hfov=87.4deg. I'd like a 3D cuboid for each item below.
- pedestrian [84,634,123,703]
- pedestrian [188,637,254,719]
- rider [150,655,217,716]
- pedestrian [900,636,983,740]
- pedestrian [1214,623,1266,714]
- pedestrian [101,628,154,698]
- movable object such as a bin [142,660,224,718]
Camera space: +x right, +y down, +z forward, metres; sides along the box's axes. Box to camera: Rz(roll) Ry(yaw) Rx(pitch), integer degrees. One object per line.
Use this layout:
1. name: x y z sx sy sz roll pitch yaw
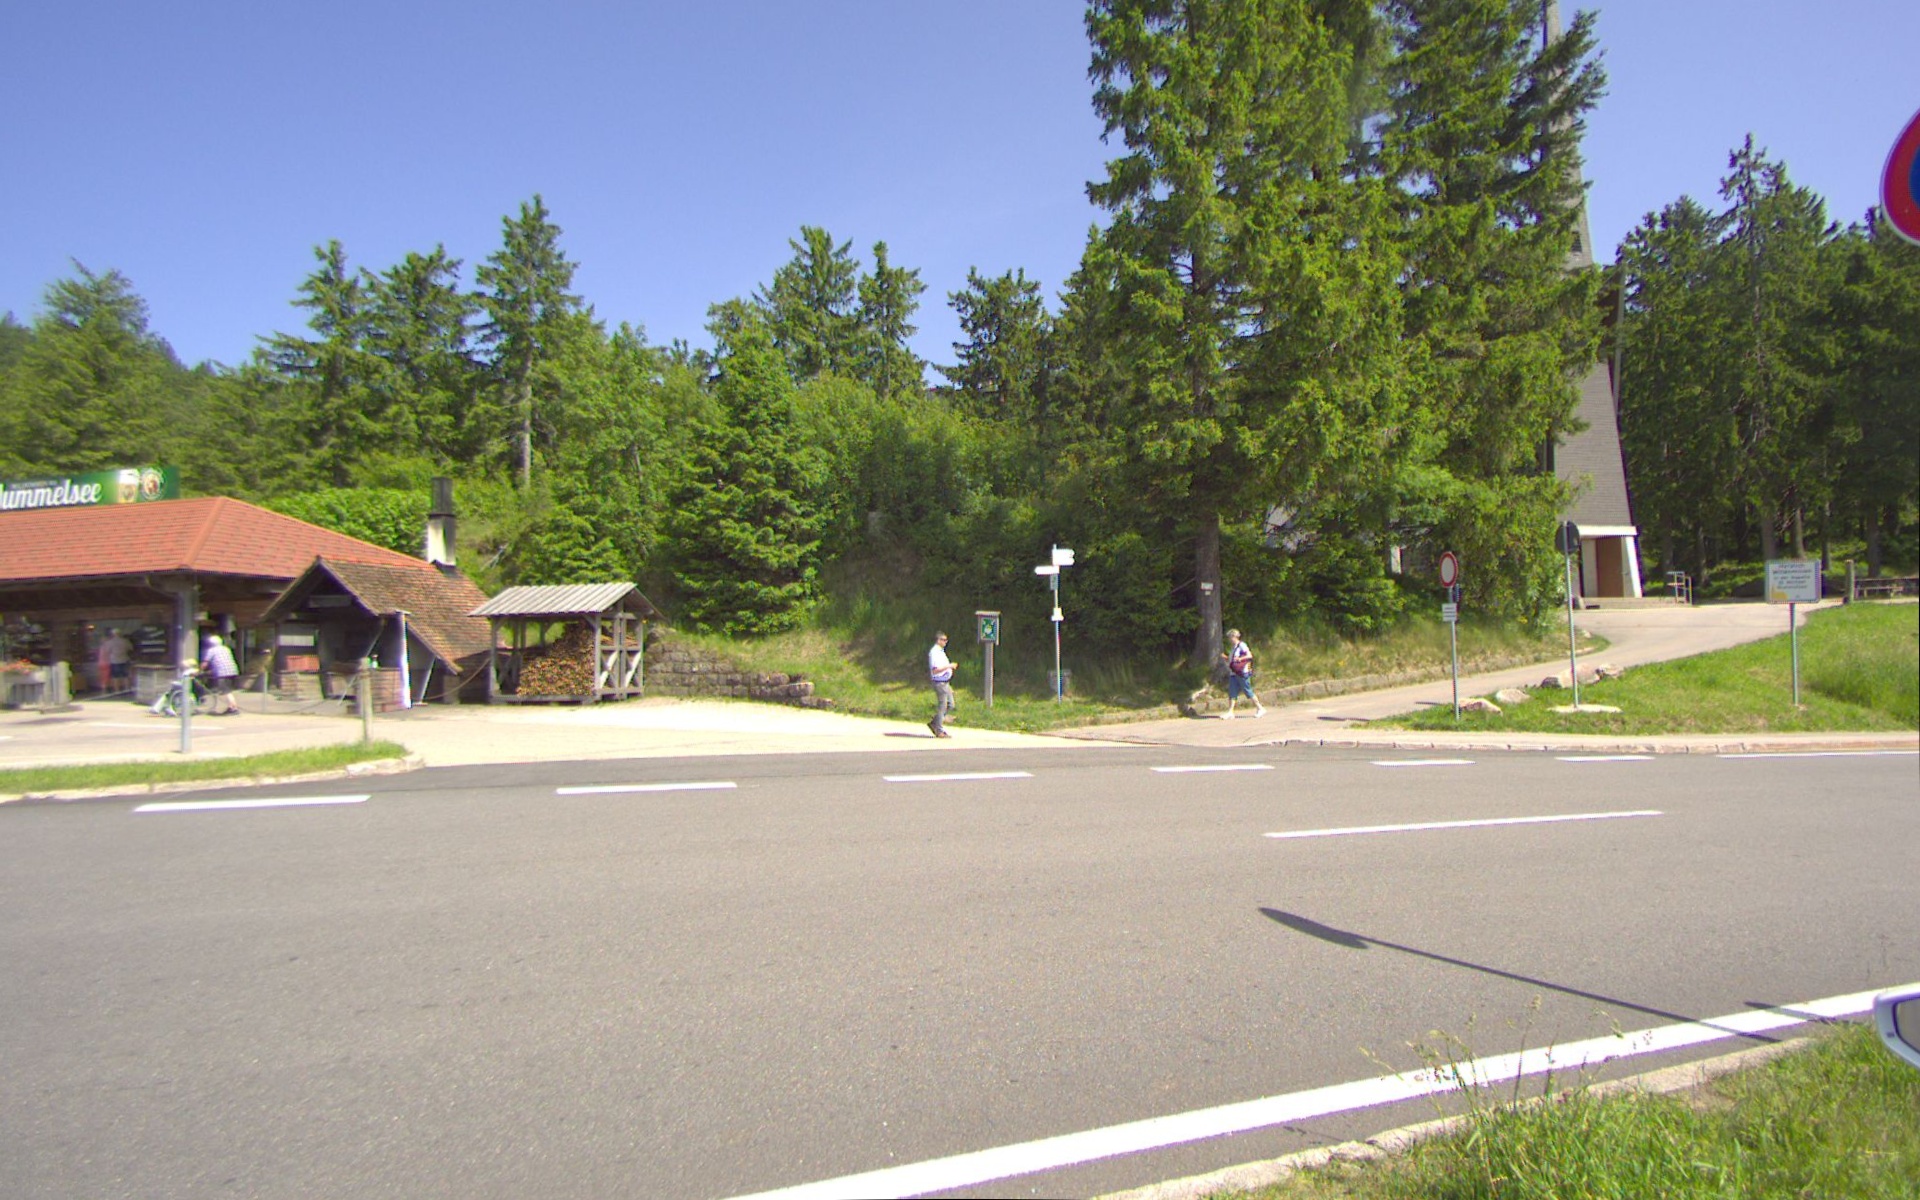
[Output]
1. pedestrian: -22.133 1.770 25.968 0.548 1.759 0.668 2 -3 -27
2. pedestrian: -15.882 1.661 21.603 0.789 1.721 0.838 -1 -3 28
3. rider: -16.870 1.844 21.836 0.892 1.291 0.838 -1 -3 28
4. pedestrian: -0.303 1.482 17.183 1.139 1.720 0.979 -1 -3 18
5. pedestrian: 5.359 1.303 19.251 0.673 1.703 0.718 1 -3 -22
6. pedestrian: -21.321 1.603 25.725 0.789 1.759 0.748 -1 -3 28
7. movable object such as a bin: -16.921 1.926 21.890 1.195 1.204 0.982 -1 -3 29
